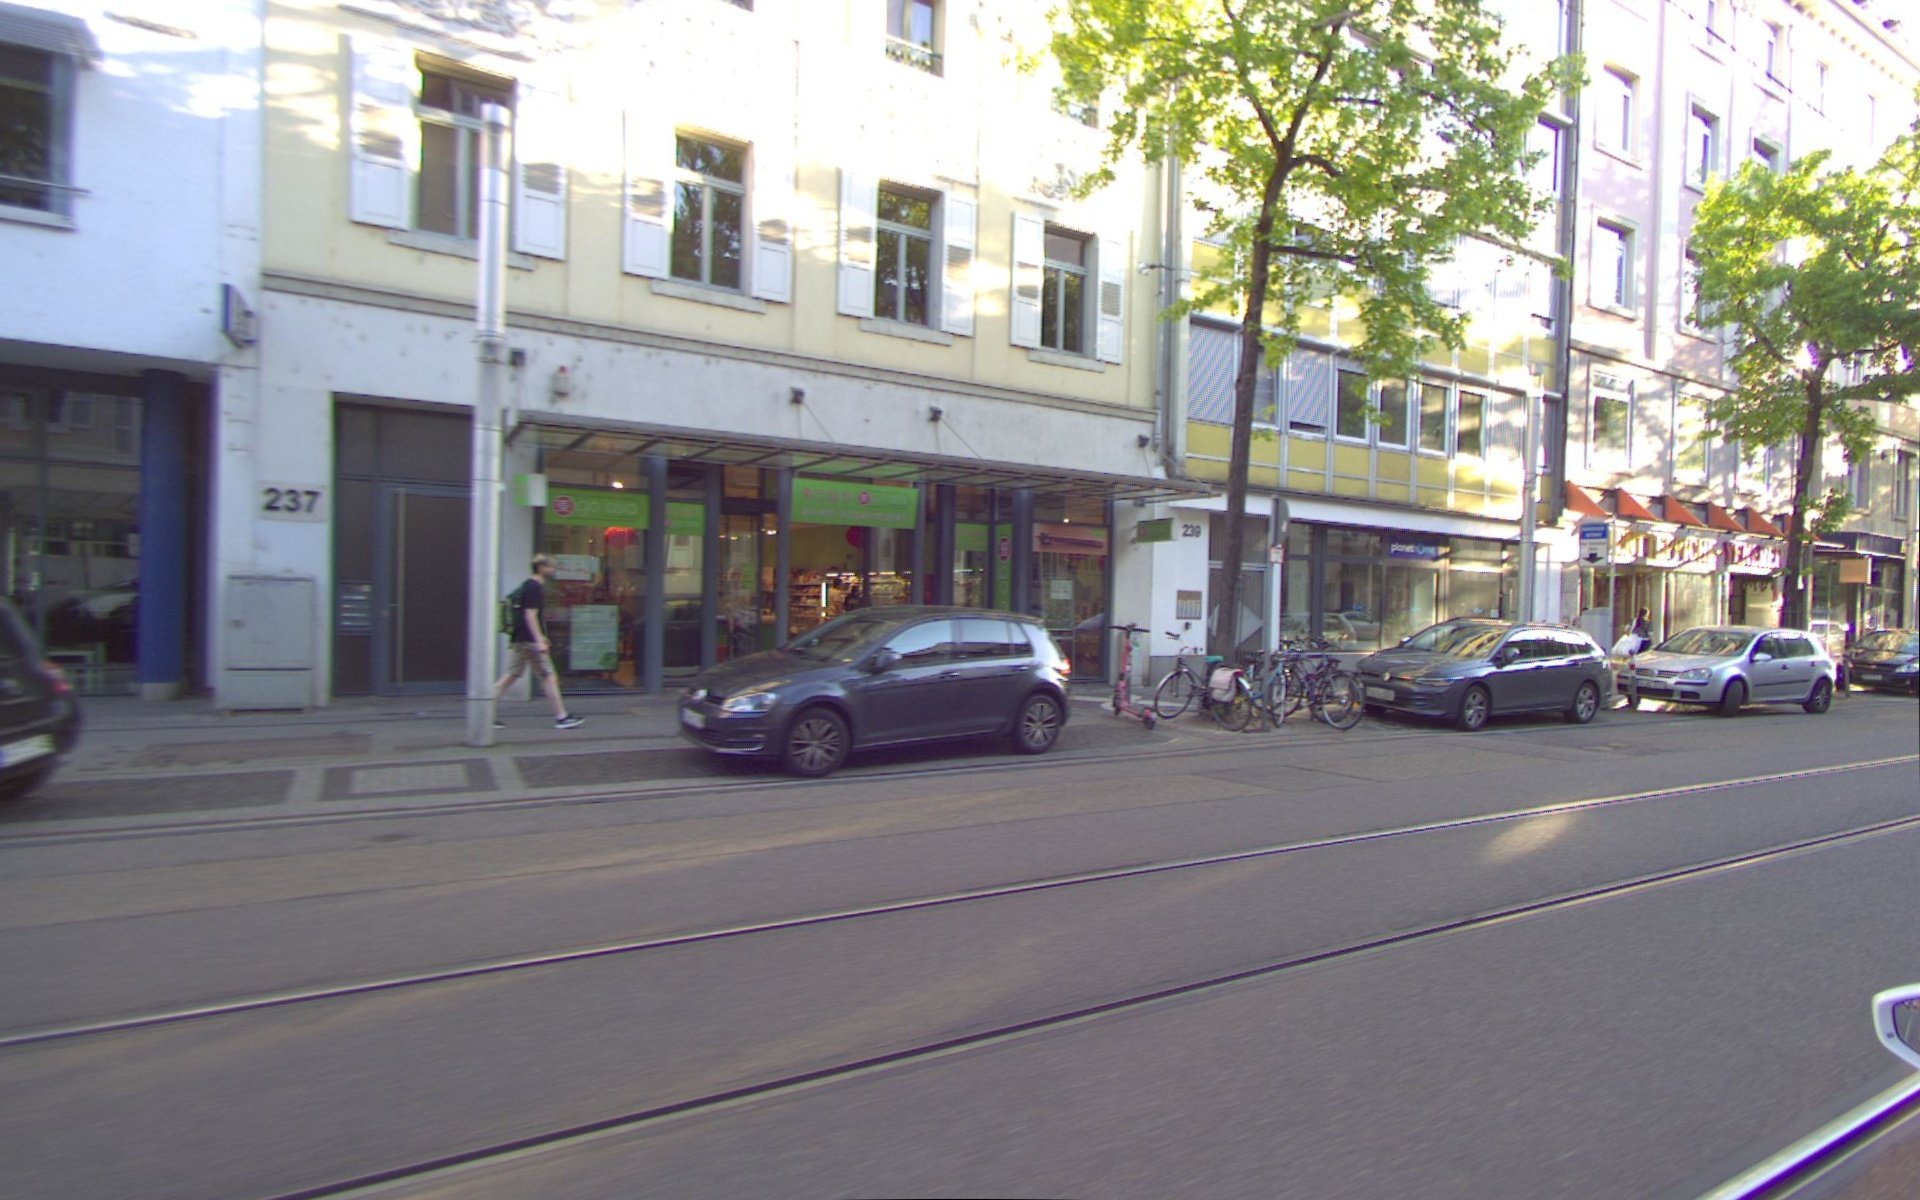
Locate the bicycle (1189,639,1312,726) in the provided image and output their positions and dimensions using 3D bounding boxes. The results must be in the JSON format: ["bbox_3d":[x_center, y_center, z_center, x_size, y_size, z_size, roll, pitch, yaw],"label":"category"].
[{"bbox_3d":[3.945,1.092,13.800,0.414,1.015,1.965,1,0,-25],"label":"bicycle"}]

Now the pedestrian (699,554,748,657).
[{"bbox_3d":[-4.227,0.099,17.926,0.677,1.802,0.665,1,0,-31],"label":"pedestrian"}]

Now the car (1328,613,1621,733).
[{"bbox_3d":[7.687,1.004,14.908,4.433,1.480,1.703,1,2,-30],"label":"car"}]

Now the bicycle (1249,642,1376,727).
[{"bbox_3d":[4.826,1.128,13.897,0.326,1.015,1.963,1,0,-27],"label":"bicycle"}]

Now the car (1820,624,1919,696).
[{"bbox_3d":[22.129,1.370,23.659,3.783,1.448,1.657,1,3,-31],"label":"car"}]

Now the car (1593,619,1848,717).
[{"bbox_3d":[13.444,1.171,17.760,4.115,1.517,1.763,2,0,-23],"label":"car"}]

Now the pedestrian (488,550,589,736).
[{"bbox_3d":[-4.395,0.424,10.472,0.868,1.850,0.656,1,3,-30],"label":"pedestrian"}]

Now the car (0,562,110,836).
[{"bbox_3d":[-7.636,0.557,5.910,3.647,1.638,1.630,1,2,-15],"label":"car"}]

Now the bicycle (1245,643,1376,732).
[{"bbox_3d":[4.643,1.124,13.441,0.326,1.015,1.963,1,0,-27],"label":"bicycle"}]

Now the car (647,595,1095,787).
[{"bbox_3d":[-0.789,0.783,10.199,4.202,1.510,1.779,1,2,-36],"label":"car"}]

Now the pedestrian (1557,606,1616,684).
[{"bbox_3d":[14.059,0.993,22.559,0.903,1.716,0.785,1,0,-31],"label":"pedestrian"}]

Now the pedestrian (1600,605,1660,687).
[{"bbox_3d":[14.578,0.985,21.861,0.732,1.716,0.839,1,0,-31],"label":"pedestrian"}]

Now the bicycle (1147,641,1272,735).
[{"bbox_3d":[3.115,1.072,12.748,0.326,1.015,1.963,1,0,-27],"label":"bicycle"}]

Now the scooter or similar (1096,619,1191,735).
[{"bbox_3d":[2.255,0.916,12.501,0.370,1.288,1.415,1,2,-25],"label":"scooter or similar"}]

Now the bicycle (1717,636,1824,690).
[{"bbox_3d":[18.231,1.393,22.636,0.436,1.079,1.796,1,1,-37],"label":"bicycle"}]
